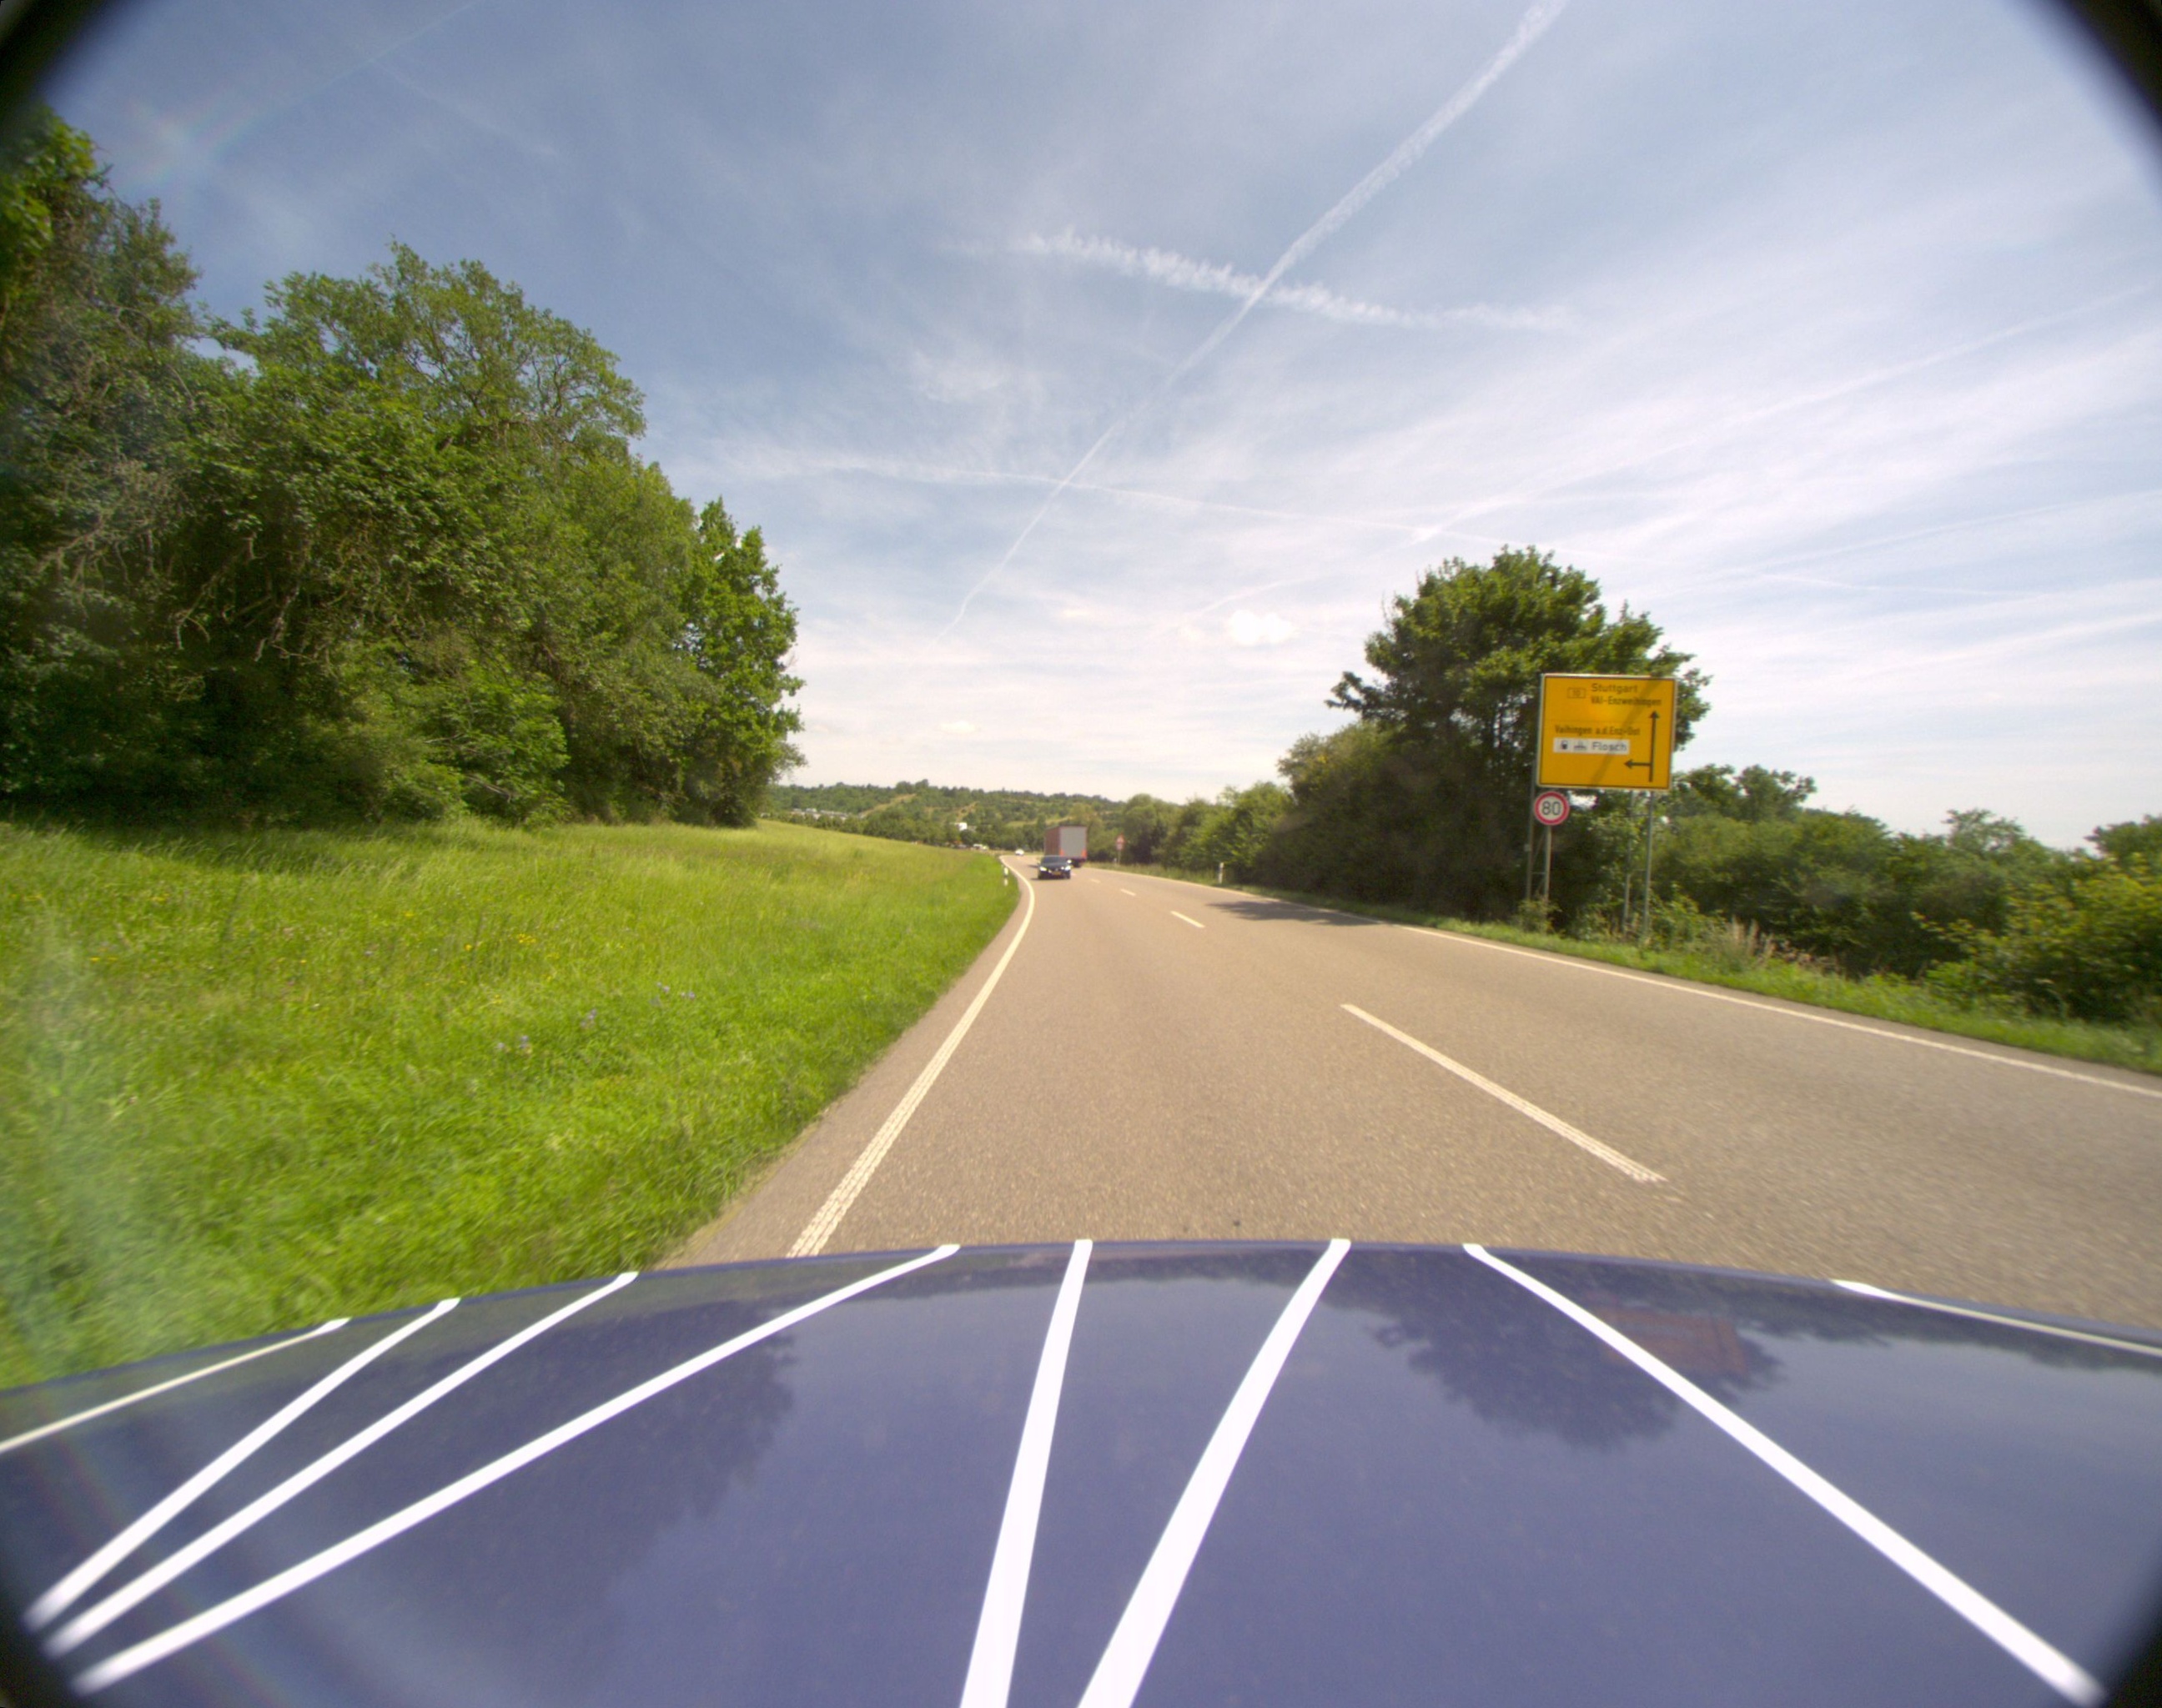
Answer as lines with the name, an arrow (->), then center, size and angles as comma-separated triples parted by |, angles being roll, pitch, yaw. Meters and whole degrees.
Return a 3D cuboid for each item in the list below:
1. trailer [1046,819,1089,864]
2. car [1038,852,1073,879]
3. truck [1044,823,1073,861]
trailer -> -1.588, -1.207, 76.888 | 2.577, 4.084, 13.650 | -1, 0, -9
car -> -1.593, 0.658, 45.790 | 1.786, 1.440, 4.601 | -1, 1, -6
truck -> -2.572, -1.304, 83.695 | 2.567, 4.092, 5.795 | -1, 1, -8
